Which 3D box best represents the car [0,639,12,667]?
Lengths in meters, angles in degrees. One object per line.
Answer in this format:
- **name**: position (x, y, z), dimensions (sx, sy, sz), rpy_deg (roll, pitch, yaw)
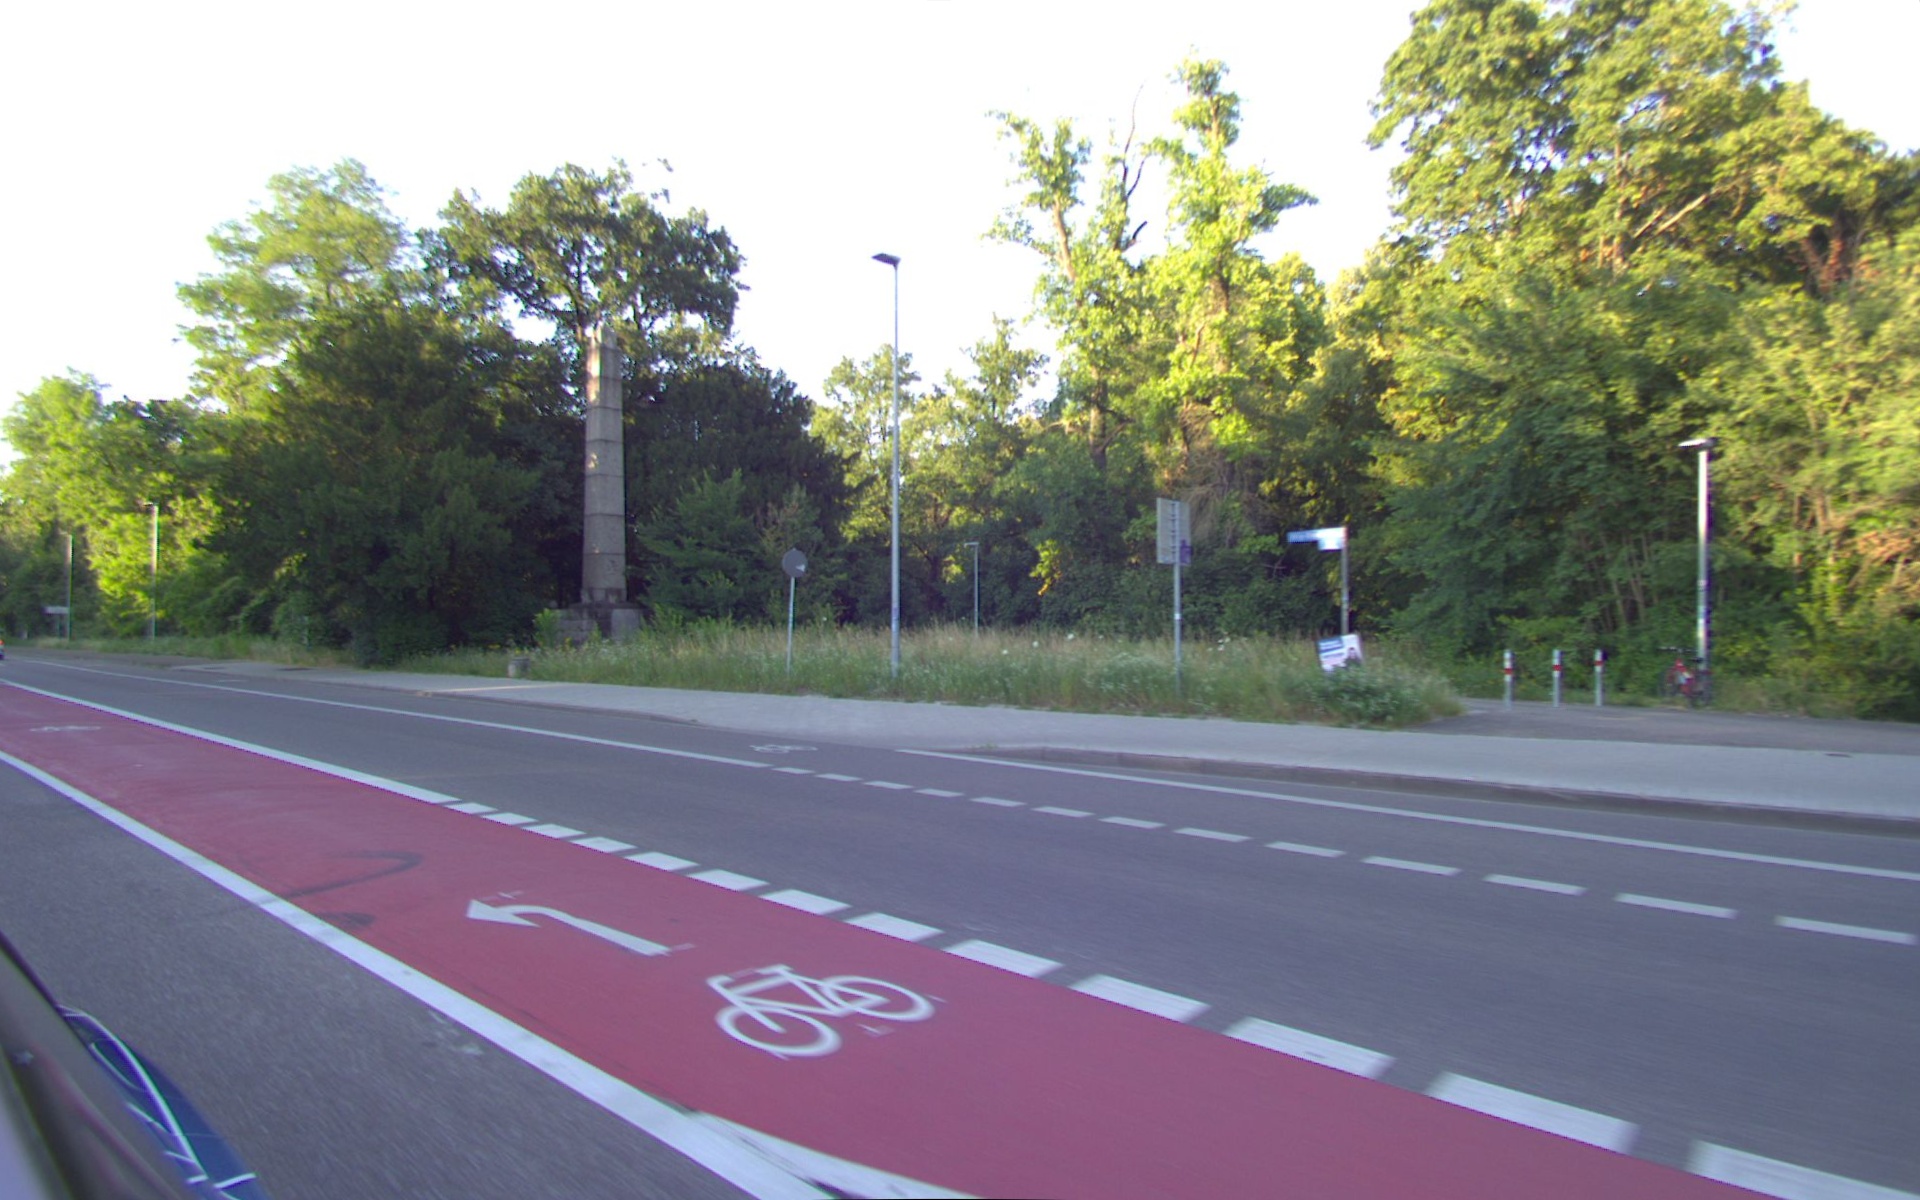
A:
- **car**: position (-51.782, 2.814, 53.511), dimensions (4.175, 1.425, 1.828), rpy_deg (-2, -2, 39)
